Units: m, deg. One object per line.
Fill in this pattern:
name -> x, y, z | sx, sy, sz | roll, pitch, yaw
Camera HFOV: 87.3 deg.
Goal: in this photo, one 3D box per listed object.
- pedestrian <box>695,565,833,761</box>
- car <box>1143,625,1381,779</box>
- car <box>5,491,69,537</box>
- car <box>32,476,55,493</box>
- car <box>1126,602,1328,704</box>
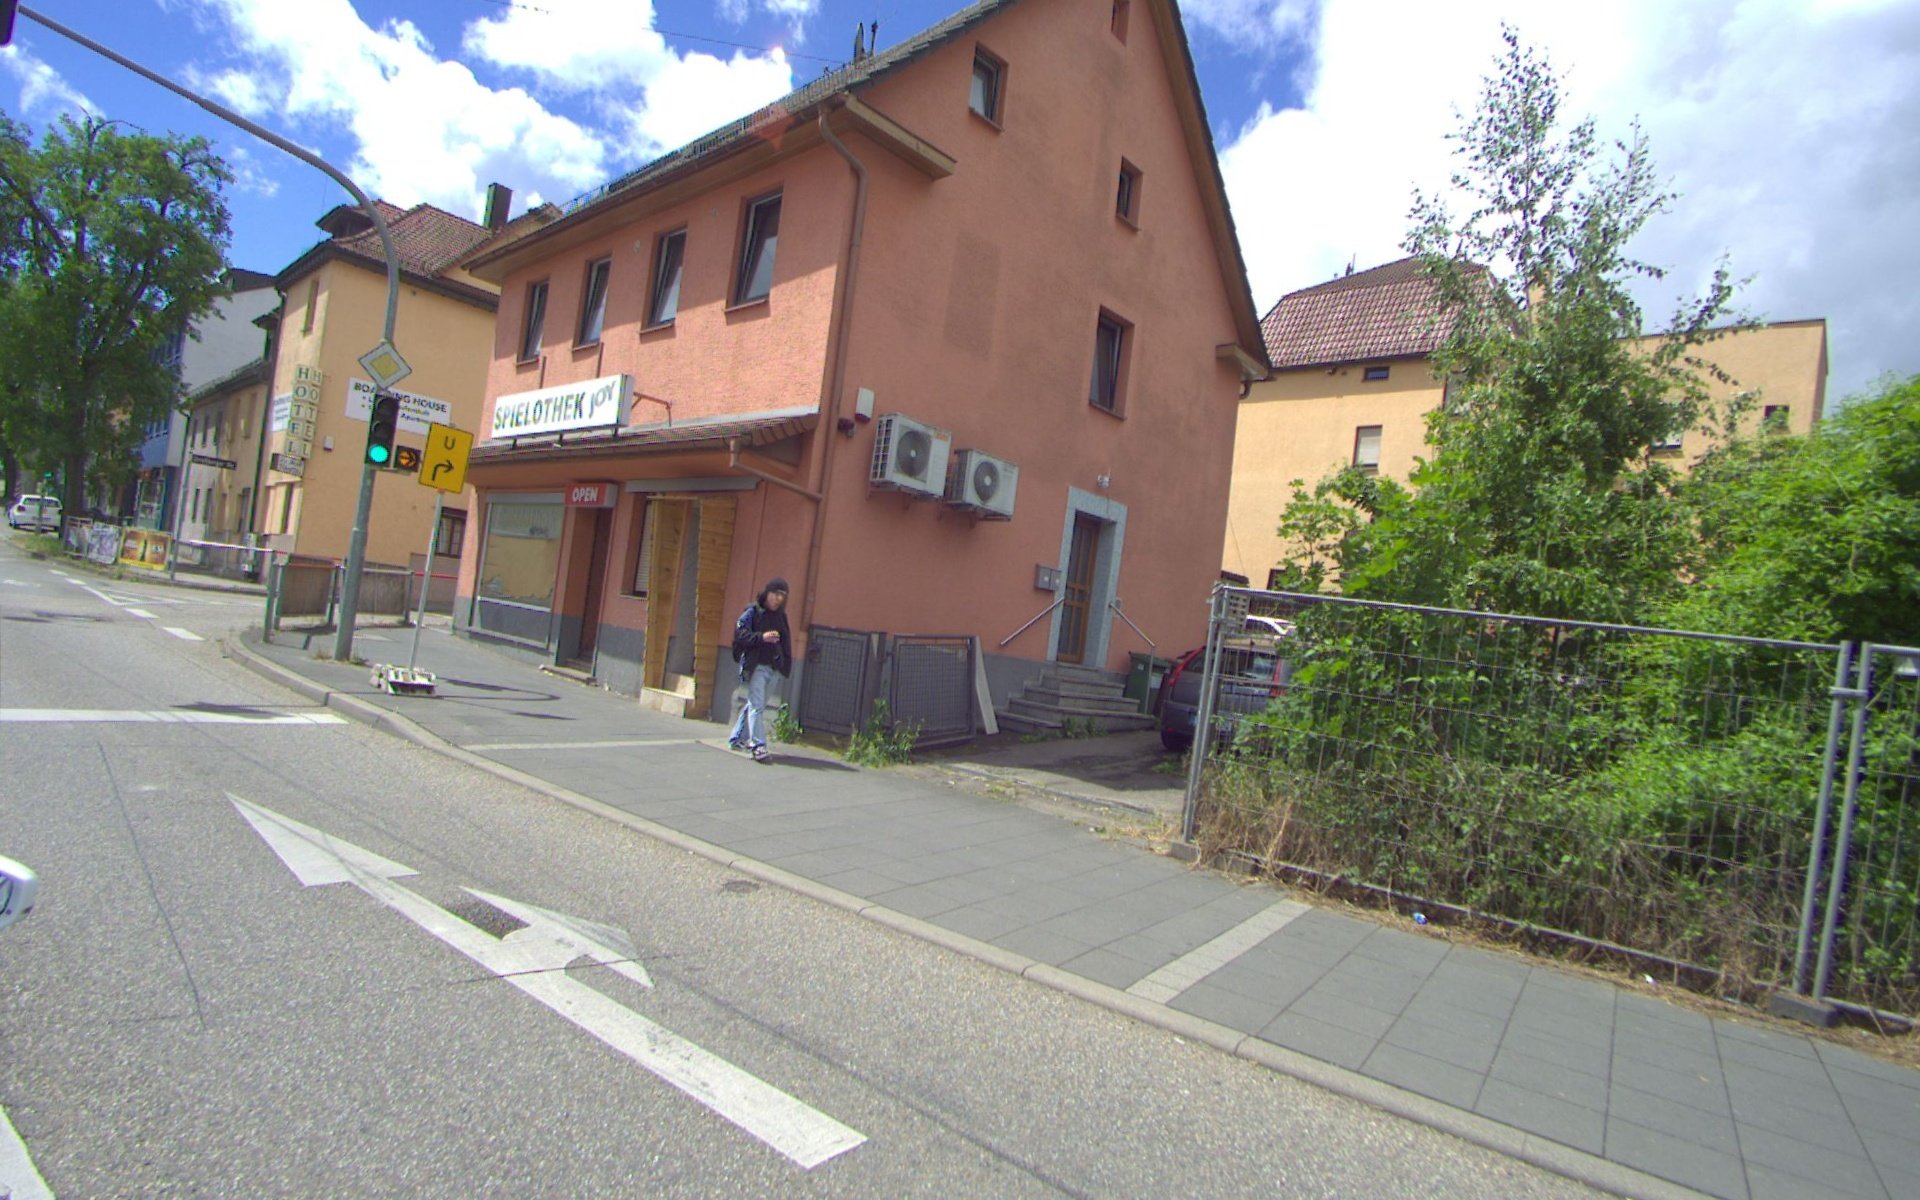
pedestrian -> -1.811, 0.580, 9.283 | 0.767, 1.663, 0.762 | 9, 1, 43
car -> 3.795, 1.195, 12.477 | 1.627, 1.516, 2.796 | 7, 2, 43
car -> -39.518, -3.680, 43.052 | 1.782, 1.615, 3.950 | 7, -1, -45
car -> -109.189, -13.730, 119.825 | 1.812, 1.484, 3.951 | 12, -4, -43
car -> 6.212, 1.217, 23.643 | 3.947, 1.804, 1.990 | 7, -1, 44
